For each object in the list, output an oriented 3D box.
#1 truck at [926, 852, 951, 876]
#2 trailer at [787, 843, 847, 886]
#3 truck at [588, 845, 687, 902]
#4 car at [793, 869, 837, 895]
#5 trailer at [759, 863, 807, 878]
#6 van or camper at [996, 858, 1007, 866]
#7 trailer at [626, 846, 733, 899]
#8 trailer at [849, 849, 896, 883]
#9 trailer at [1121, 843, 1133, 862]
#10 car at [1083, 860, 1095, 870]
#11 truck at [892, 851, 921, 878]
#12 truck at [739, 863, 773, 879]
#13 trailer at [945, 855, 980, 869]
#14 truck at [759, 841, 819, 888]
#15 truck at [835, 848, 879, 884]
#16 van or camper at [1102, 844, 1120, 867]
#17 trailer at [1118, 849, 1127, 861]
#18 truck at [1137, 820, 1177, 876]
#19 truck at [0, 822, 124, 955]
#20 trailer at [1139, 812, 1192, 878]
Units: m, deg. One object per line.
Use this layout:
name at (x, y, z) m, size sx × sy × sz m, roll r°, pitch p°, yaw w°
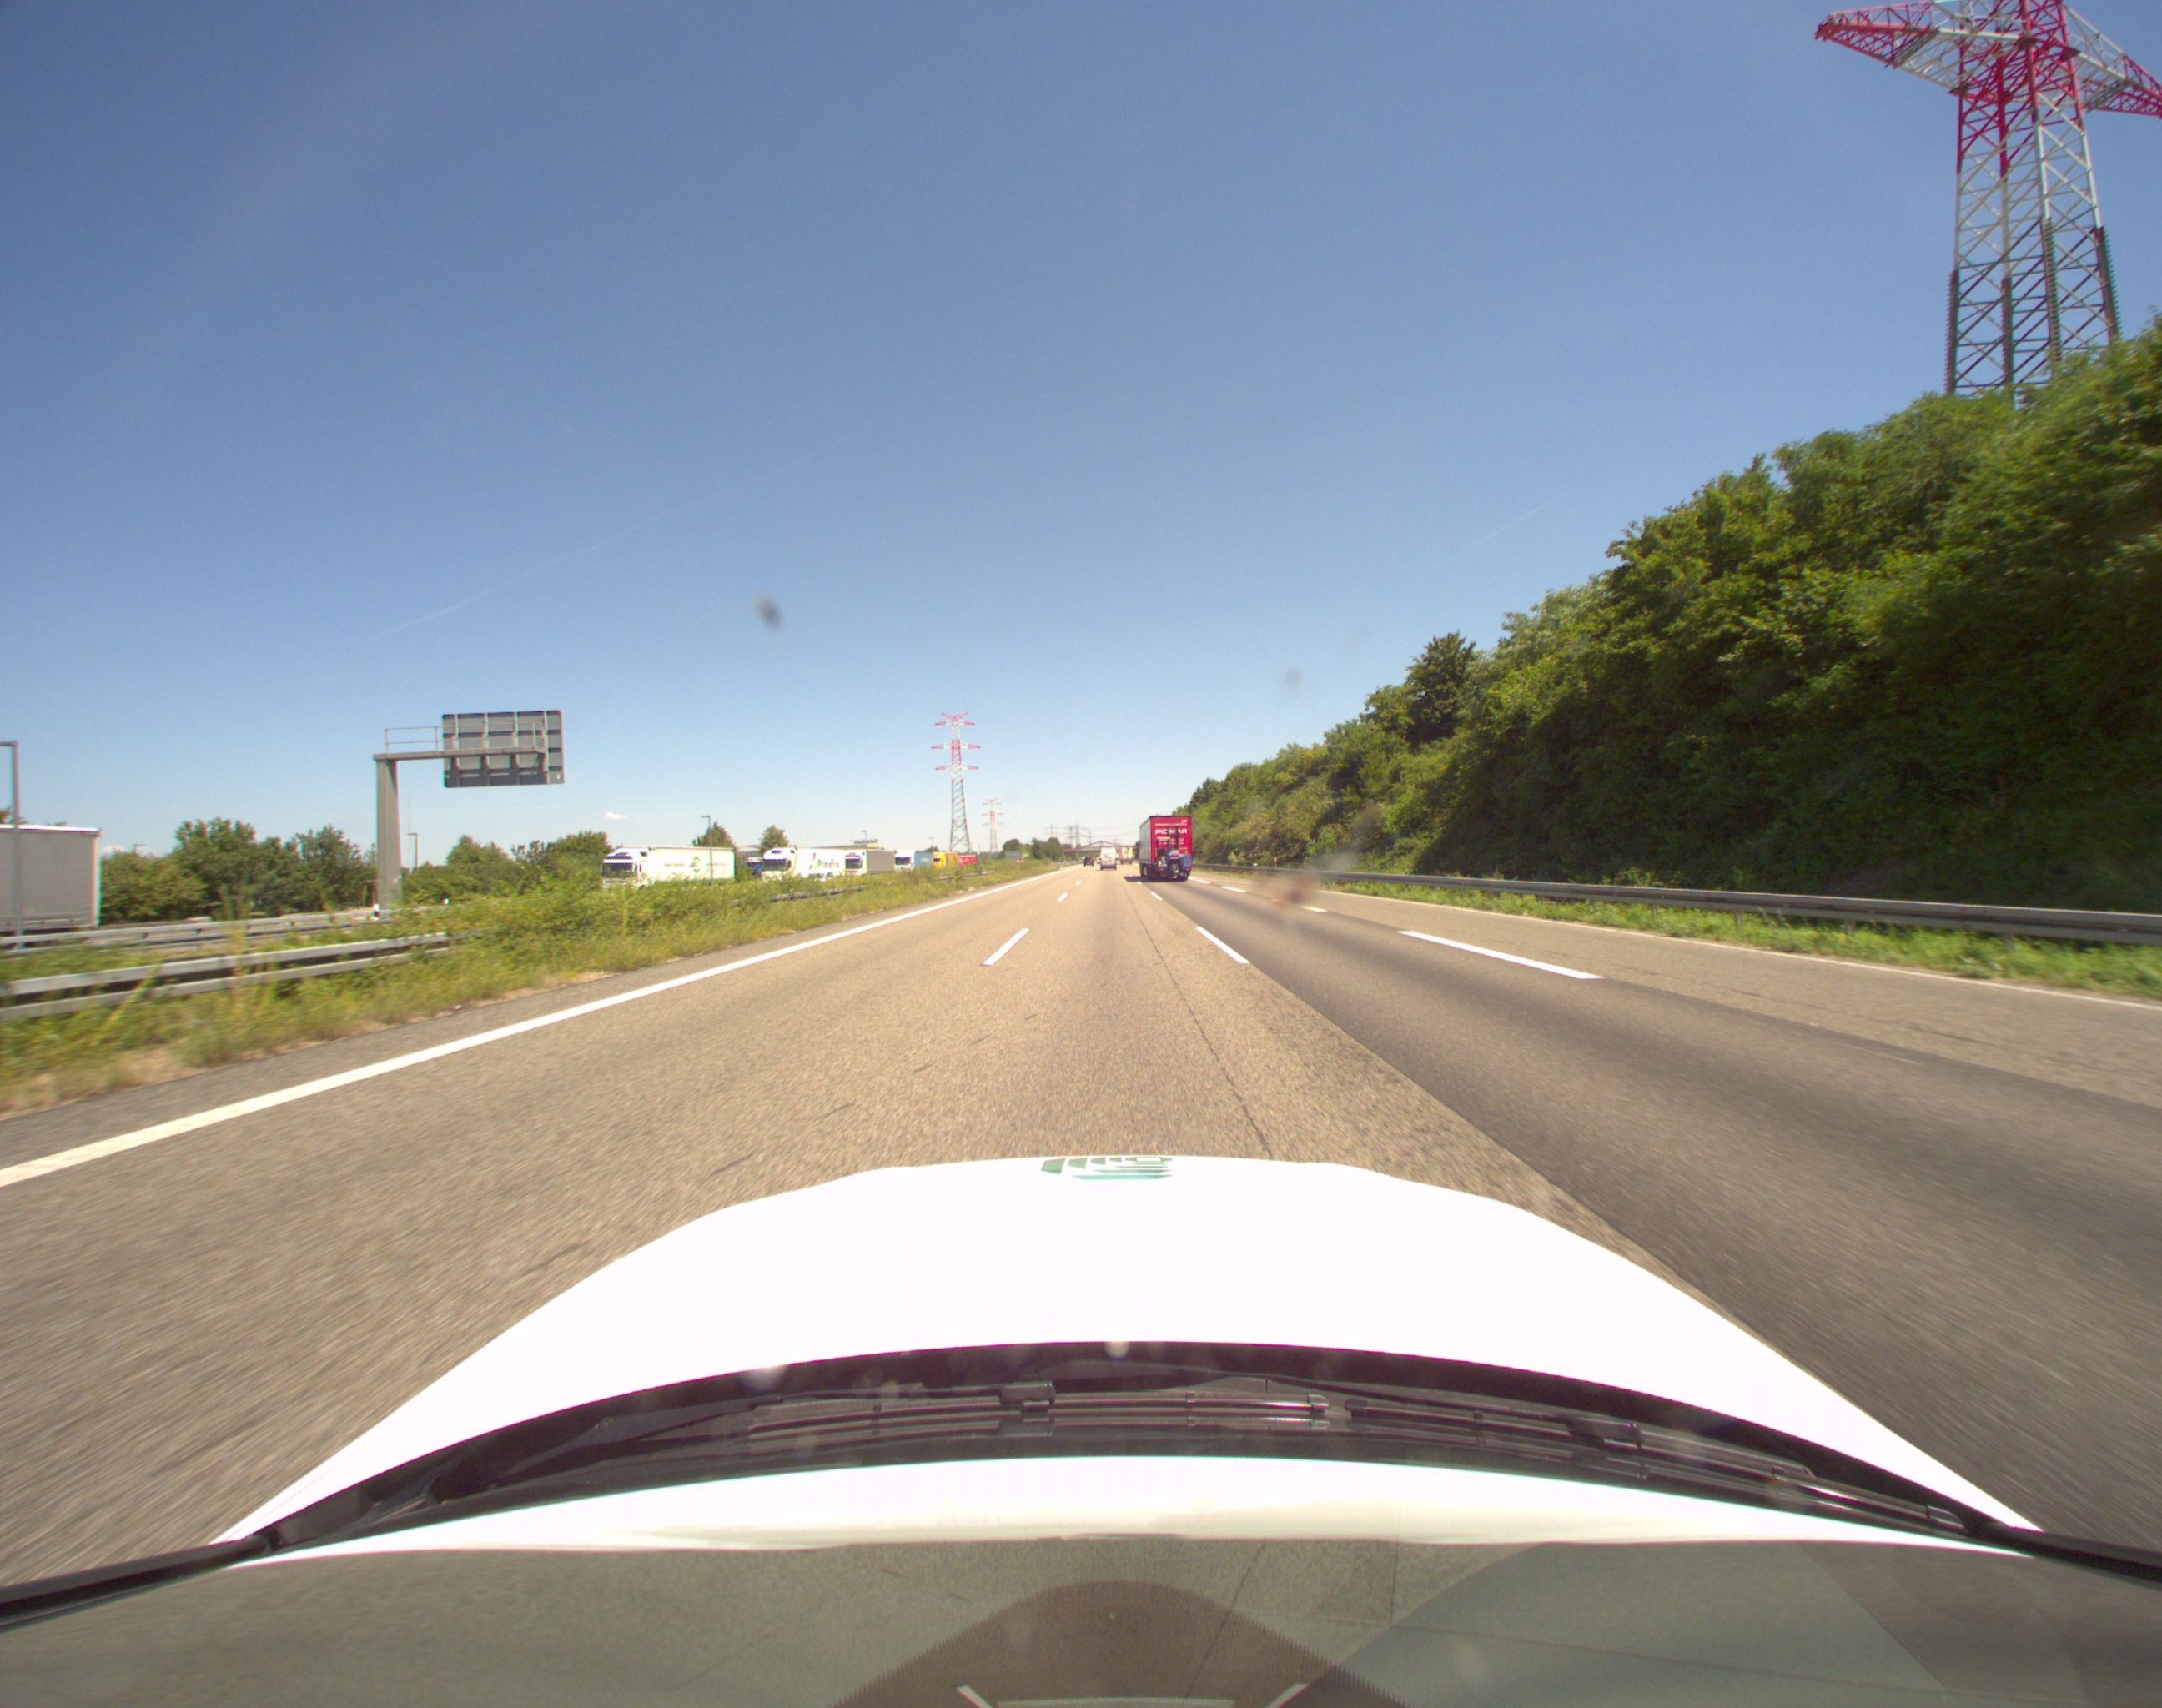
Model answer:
truck at (-25.544, 1.762, 146.027) m, size 2.823 × 4.200 × 7.920 m, roll 0°, pitch 0°, yaw 1°
trailer at (-27.452, 1.038, 85.173) m, size 2.589 × 4.219 × 10.518 m, roll 0°, pitch 0°, yaw 2°
truck at (-34.699, 1.461, 64.197) m, size 3.083 × 4.152 × 8.319 m, roll 0°, pitch 0°, yaw 2°
car at (-19.234, 2.013, 59.127) m, size 1.644 × 1.747 × 4.410 m, roll 0°, pitch 0°, yaw 2°
trailer at (-70.930, 3.908, 194.219) m, size 2.964 × 3.521 × 11.133 m, roll 0°, pitch -1°, yaw 31°
van or camper at (-18.506, 1.772, 189.569) m, size 1.889 × 1.839 × 4.748 m, roll -2°, pitch 0°, yaw 2°
trailer at (-34.504, 1.502, 70.817) m, size 3.082 × 4.156 × 12.014 m, roll 0°, pitch 0°, yaw 2°
trailer at (-27.193, 1.518, 106.870) m, size 3.102 × 4.158 × 11.016 m, roll 0°, pitch 0°, yaw 1°
trailer at (10.569, -0.325, 187.100) m, size 2.626 × 4.060 × 12.375 m, roll 0°, pitch 0°, yaw 3°
car at (1.418, 2.042, 151.544) m, size 1.973 × 1.817 × 3.817 m, roll 0°, pitch 0°, yaw 4°
truck at (-26.512, 1.554, 124.190) m, size 2.839 × 4.073 × 7.090 m, roll 0°, pitch 0°, yaw 1°
truck at (-74.887, 3.884, 187.756) m, size 2.945 × 3.490 × 7.115 m, roll 0°, pitch -1°, yaw 31°
trailer at (-35.207, 2.304, 242.711) m, size 3.090 × 4.055 × 11.385 m, roll -1°, pitch -1°, yaw 36°
truck at (-27.665, 0.984, 77.482) m, size 2.572 × 4.188 × 7.939 m, roll -1°, pitch 0°, yaw 2°
truck at (-27.304, 1.443, 99.637) m, size 3.106 × 4.158 × 7.505 m, roll 0°, pitch 0°, yaw 1°
van or camper at (3.766, 0.193, 103.089) m, size 2.221 × 2.782 × 5.425 m, roll 0°, pitch 0°, yaw 2°
trailer at (12.950, 0.330, 251.952) m, size 2.626 × 3.897 × 7.074 m, roll 0°, pitch 0°, yaw 3°
truck at (5.700, -0.410, 62.115) m, size 2.490 × 3.920 × 7.099 m, roll -1°, pitch -1°, yaw 2°
truck at (-31.247, 0.922, 18.412) m, size 2.788 × 3.643 × 13.611 m, roll 0°, pitch 0°, yaw 2°
trailer at (5.488, -0.484, 55.332) m, size 2.481 × 3.909 × 14.251 m, roll -1°, pitch 0°, yaw 2°
